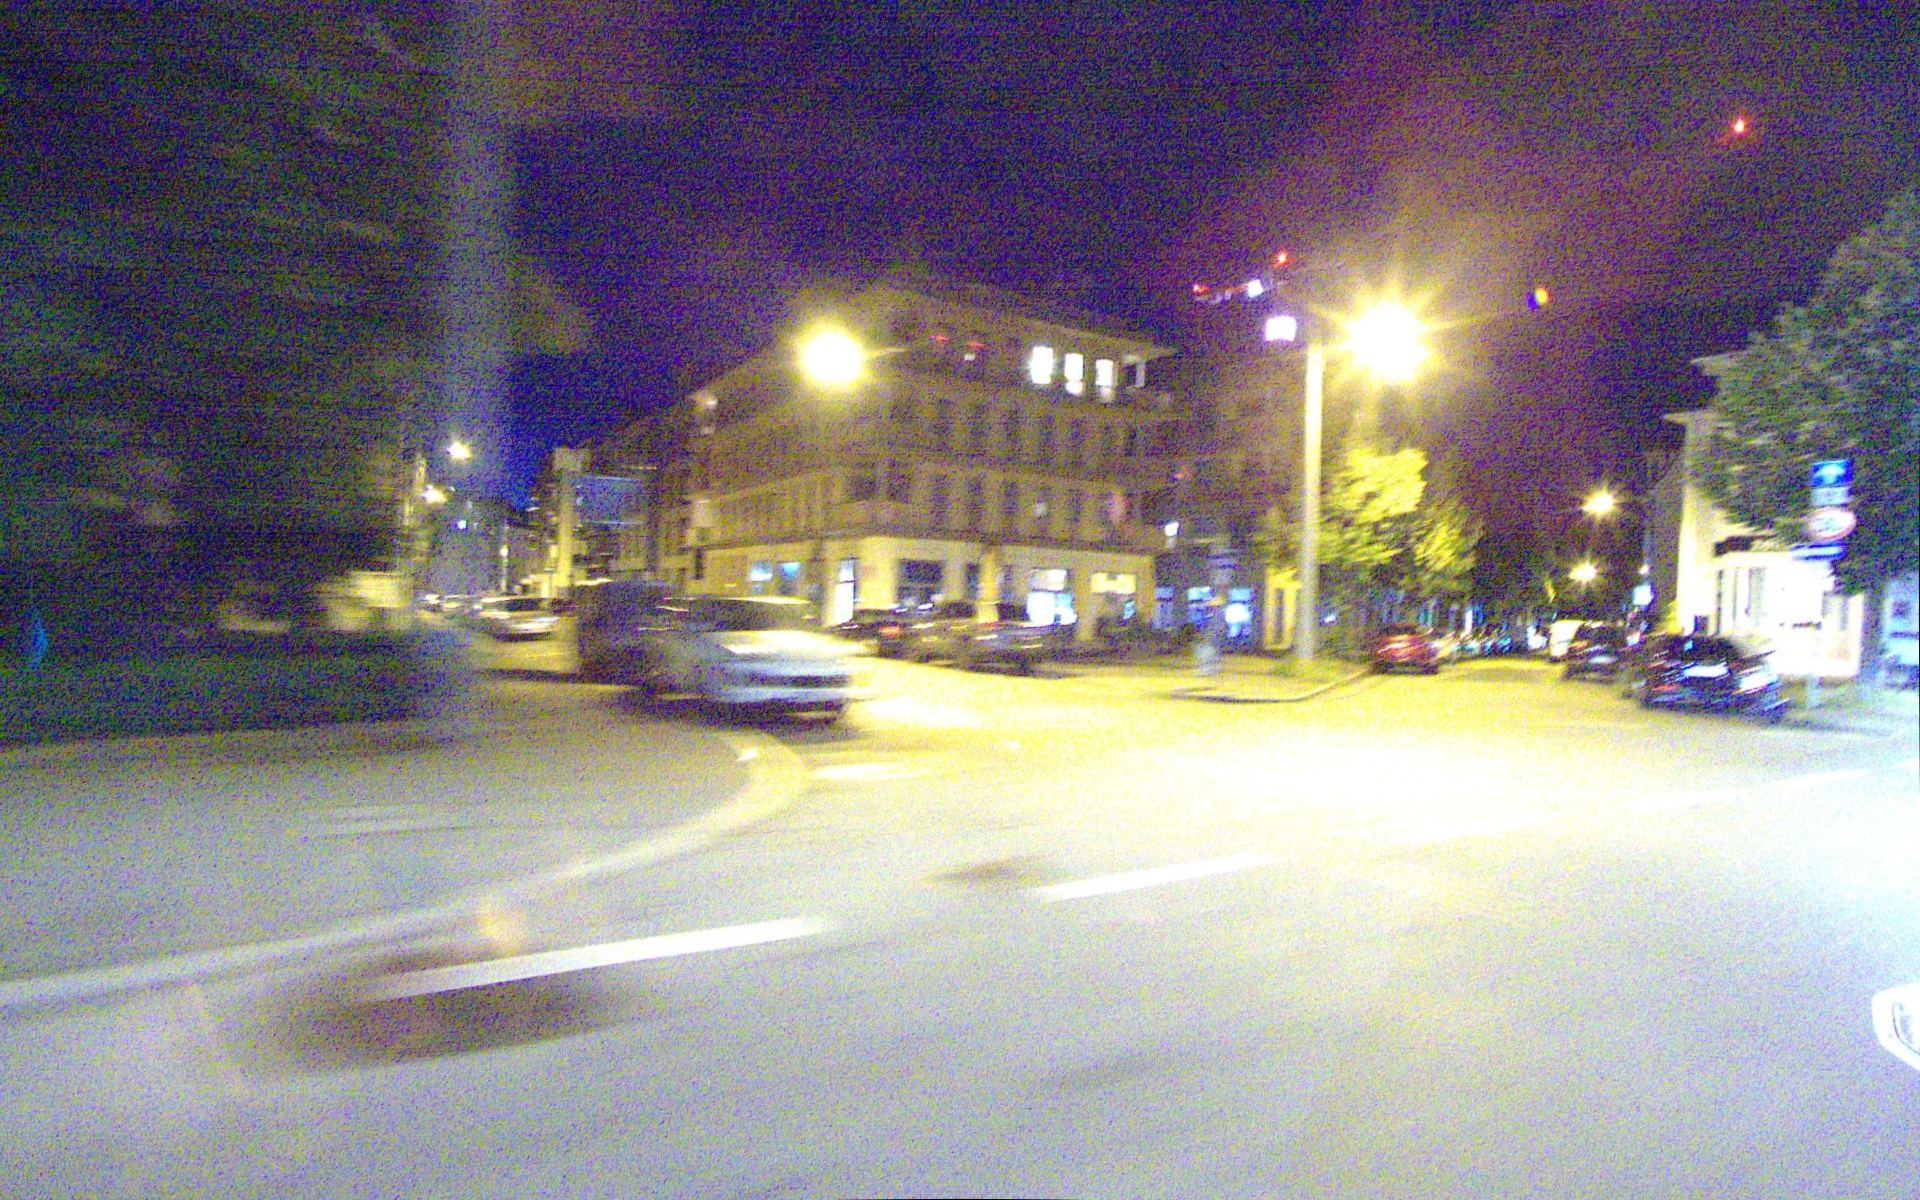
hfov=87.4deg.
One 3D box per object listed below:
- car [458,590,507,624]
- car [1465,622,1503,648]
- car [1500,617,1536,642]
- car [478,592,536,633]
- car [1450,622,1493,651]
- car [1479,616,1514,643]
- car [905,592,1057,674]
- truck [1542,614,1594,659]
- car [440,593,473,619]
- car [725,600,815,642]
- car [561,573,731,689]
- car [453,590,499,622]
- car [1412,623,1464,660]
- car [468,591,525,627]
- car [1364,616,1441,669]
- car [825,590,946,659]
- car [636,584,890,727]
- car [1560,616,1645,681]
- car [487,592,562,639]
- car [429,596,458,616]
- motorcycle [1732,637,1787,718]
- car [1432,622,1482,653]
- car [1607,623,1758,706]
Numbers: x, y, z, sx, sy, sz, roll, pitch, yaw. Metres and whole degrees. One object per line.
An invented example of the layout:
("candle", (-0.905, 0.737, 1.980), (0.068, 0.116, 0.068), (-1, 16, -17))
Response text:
("car", (-23.112, 0.356, 48.532), (1.779, 1.539, 3.654), (2, -1, -31))
("car", (31.872, 2.090, 61.086), (1.692, 1.516, 3.574), (1, 0, 33))
("car", (41.909, 2.218, 75.410), (1.873, 1.758, 3.986), (1, -1, 36))
("car", (-17.750, 0.455, 39.299), (1.806, 1.525, 3.970), (0, 0, -28))
("car", (28.914, 2.036, 56.695), (1.742, 1.479, 3.989), (1, 0, 33))
("car", (37.507, 2.041, 70.181), (1.770, 1.833, 3.989), (1, 0, 33))
("car", (0.421, 0.770, 25.303), (1.933, 1.777, 4.321), (3, 0, -28))
("truck", (26.606, 1.580, 43.964), (1.863, 1.831, 4.105), (1, -1, 31))
("car", (-33.637, 0.391, 67.090), (1.677, 1.636, 3.660), (2, -1, -31))
("car", (-7.276, 0.783, 38.169), (1.903, 1.475, 4.175), (2, -1, -33))
("car", (-6.159, 0.503, 19.269), (2.005, 1.915, 4.961), (1, 0, -31))
("car", (-25.641, 0.326, 53.146), (1.842, 1.557, 3.966), (2, -1, -31))
("car", (20.665, 1.741, 43.387), (1.579, 1.508, 3.547), (-1, -1, 33))
("car", (-20.484, 0.398, 44.291), (1.842, 1.489, 3.966), (2, -1, -31))
("car", (14.687, 1.382, 33.212), (1.810, 1.634, 4.251), (-1, -2, 31))
("car", (-2.329, 0.687, 30.249), (1.938, 1.777, 4.320), (5, -2, -28))
("car", (-2.941, 0.683, 14.081), (1.981, 1.650, 4.635), (2, -1, -32))
("car", (18.857, 1.370, 29.613), (1.886, 1.666, 4.102), (4, 1, 31))
("car", (-14.996, 0.492, 34.491), (1.882, 1.525, 3.966), (0, 0, -31))
("car", (-42.801, 0.469, 83.236), (1.879, 1.568, 3.761), (2, -1, -31))
("motorcycle", (12.914, 1.207, 16.209), (0.565, 1.195, 2.021), (1, -1, 42))
("car", (25.936, 1.920, 52.376), (1.855, 1.469, 3.988), (1, 0, 34))
("car", (14.293, 1.197, 20.137), (1.858, 1.443, 4.723), (0, -1, 28))
